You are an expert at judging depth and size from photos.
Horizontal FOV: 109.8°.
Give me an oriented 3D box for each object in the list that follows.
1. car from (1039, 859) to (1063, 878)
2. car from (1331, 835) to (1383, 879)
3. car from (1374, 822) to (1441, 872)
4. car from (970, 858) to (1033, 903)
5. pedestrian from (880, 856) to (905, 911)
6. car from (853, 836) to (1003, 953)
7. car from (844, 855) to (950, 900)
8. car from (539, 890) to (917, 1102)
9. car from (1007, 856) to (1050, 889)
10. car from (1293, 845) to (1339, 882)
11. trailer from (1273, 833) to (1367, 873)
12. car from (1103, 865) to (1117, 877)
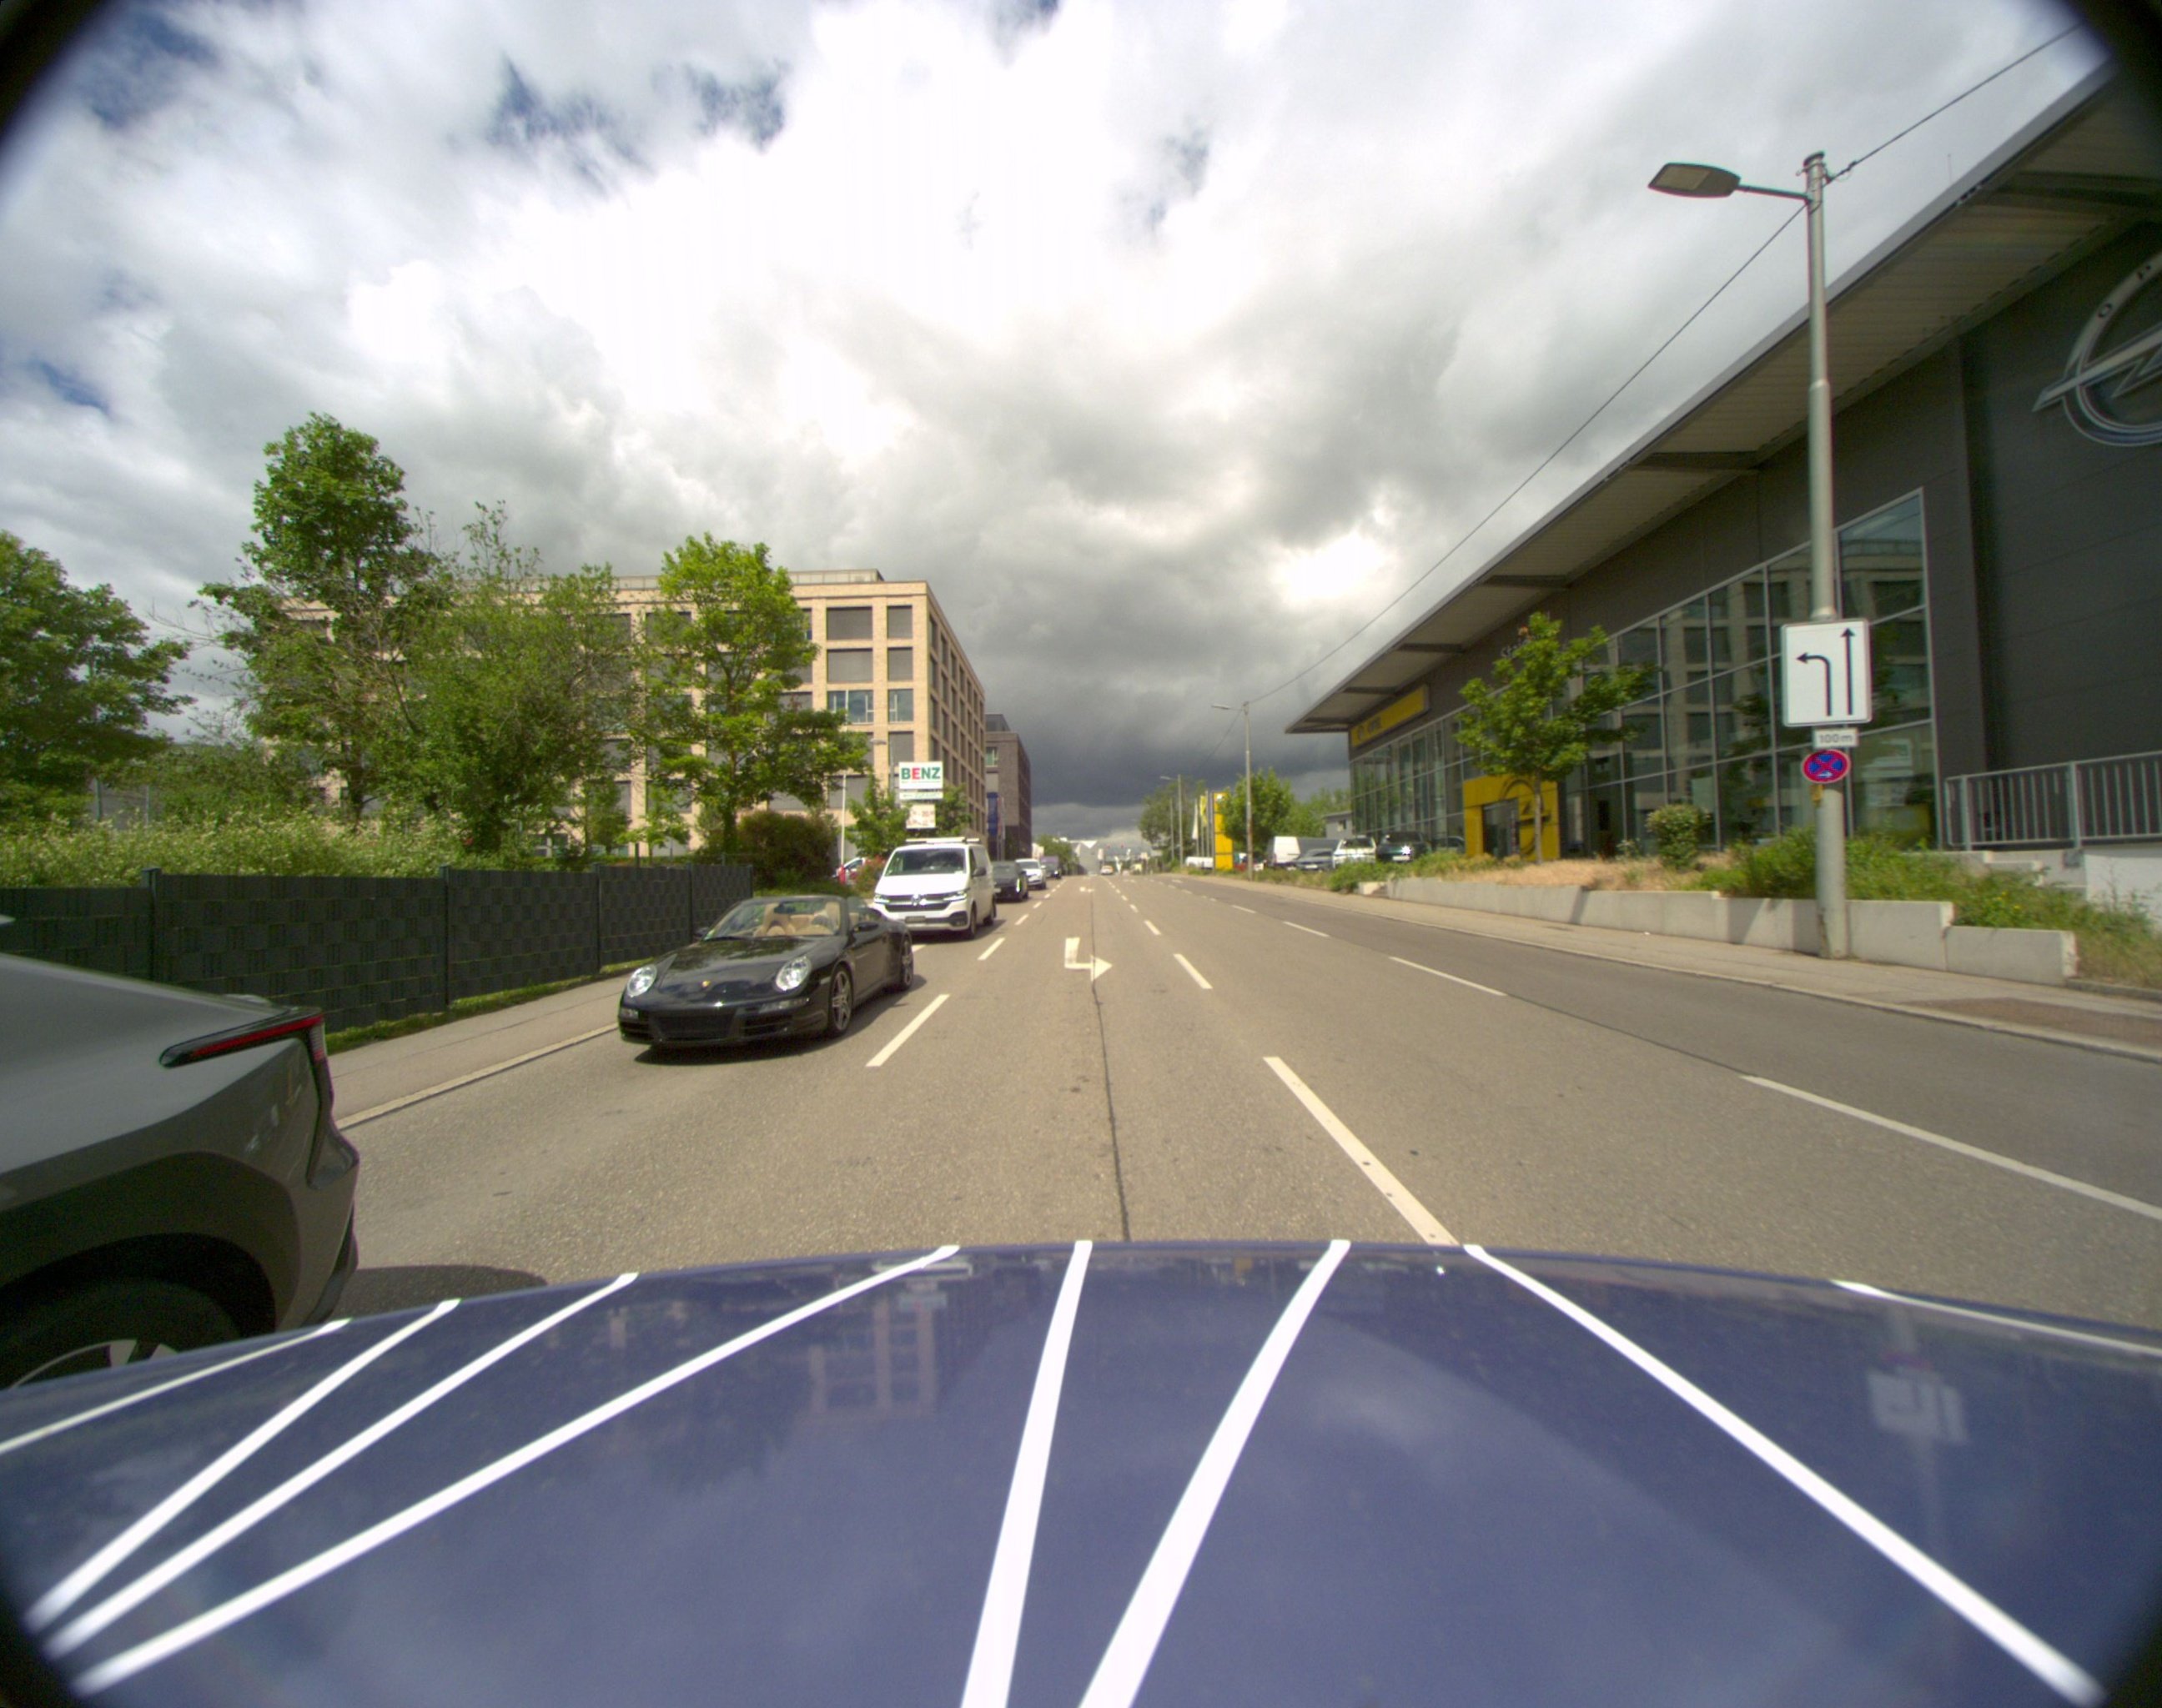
[{"bbox_3d":[-2.361,1.127,60.572,1.662,1.351,4.000,-1,0,1],"label":"car"},{"bbox_3d":[12.159,0.123,33.433,1.995,1.783,4.006,-1,0,21],"label":"car"},{"bbox_3d":[12.327,-0.258,28.923,1.996,1.718,4.005,-1,0,18],"label":"car"},{"bbox_3d":[-2.837,0.909,27.880,1.818,1.454,4.000,-1,0,1],"label":"car"},{"bbox_3d":[-5.723,0.884,23.062,0.632,1.648,0.443,-1,1,-1],"label":"pedestrian"},{"bbox_3d":[-3.020,0.729,16.181,2.089,2.037,4.760,-2,0,1],"label":"car"},{"bbox_3d":[-7.639,0.953,31.765,3.998,1.723,1.822,-1,1,-3],"label":"car"},{"bbox_3d":[-3.046,1.152,7.644,1.824,1.286,4.038,-2,0,1],"label":"car"},{"bbox_3d":[-2.601,0.891,38.420,1.818,1.577,4.000,-1,0,1],"label":"car"},{"bbox_3d":[12.098,0.462,39.007,1.995,1.783,4.006,-1,0,21],"label":"car"},{"bbox_3d":[14.442,-0.076,46.167,5.074,2.336,2.000,-1,1,-1],"label":"trailer"},{"bbox_3d":[4.500,2.612,116.970,1.998,1.731,4.547,-2,0,1],"label":"car"}]
